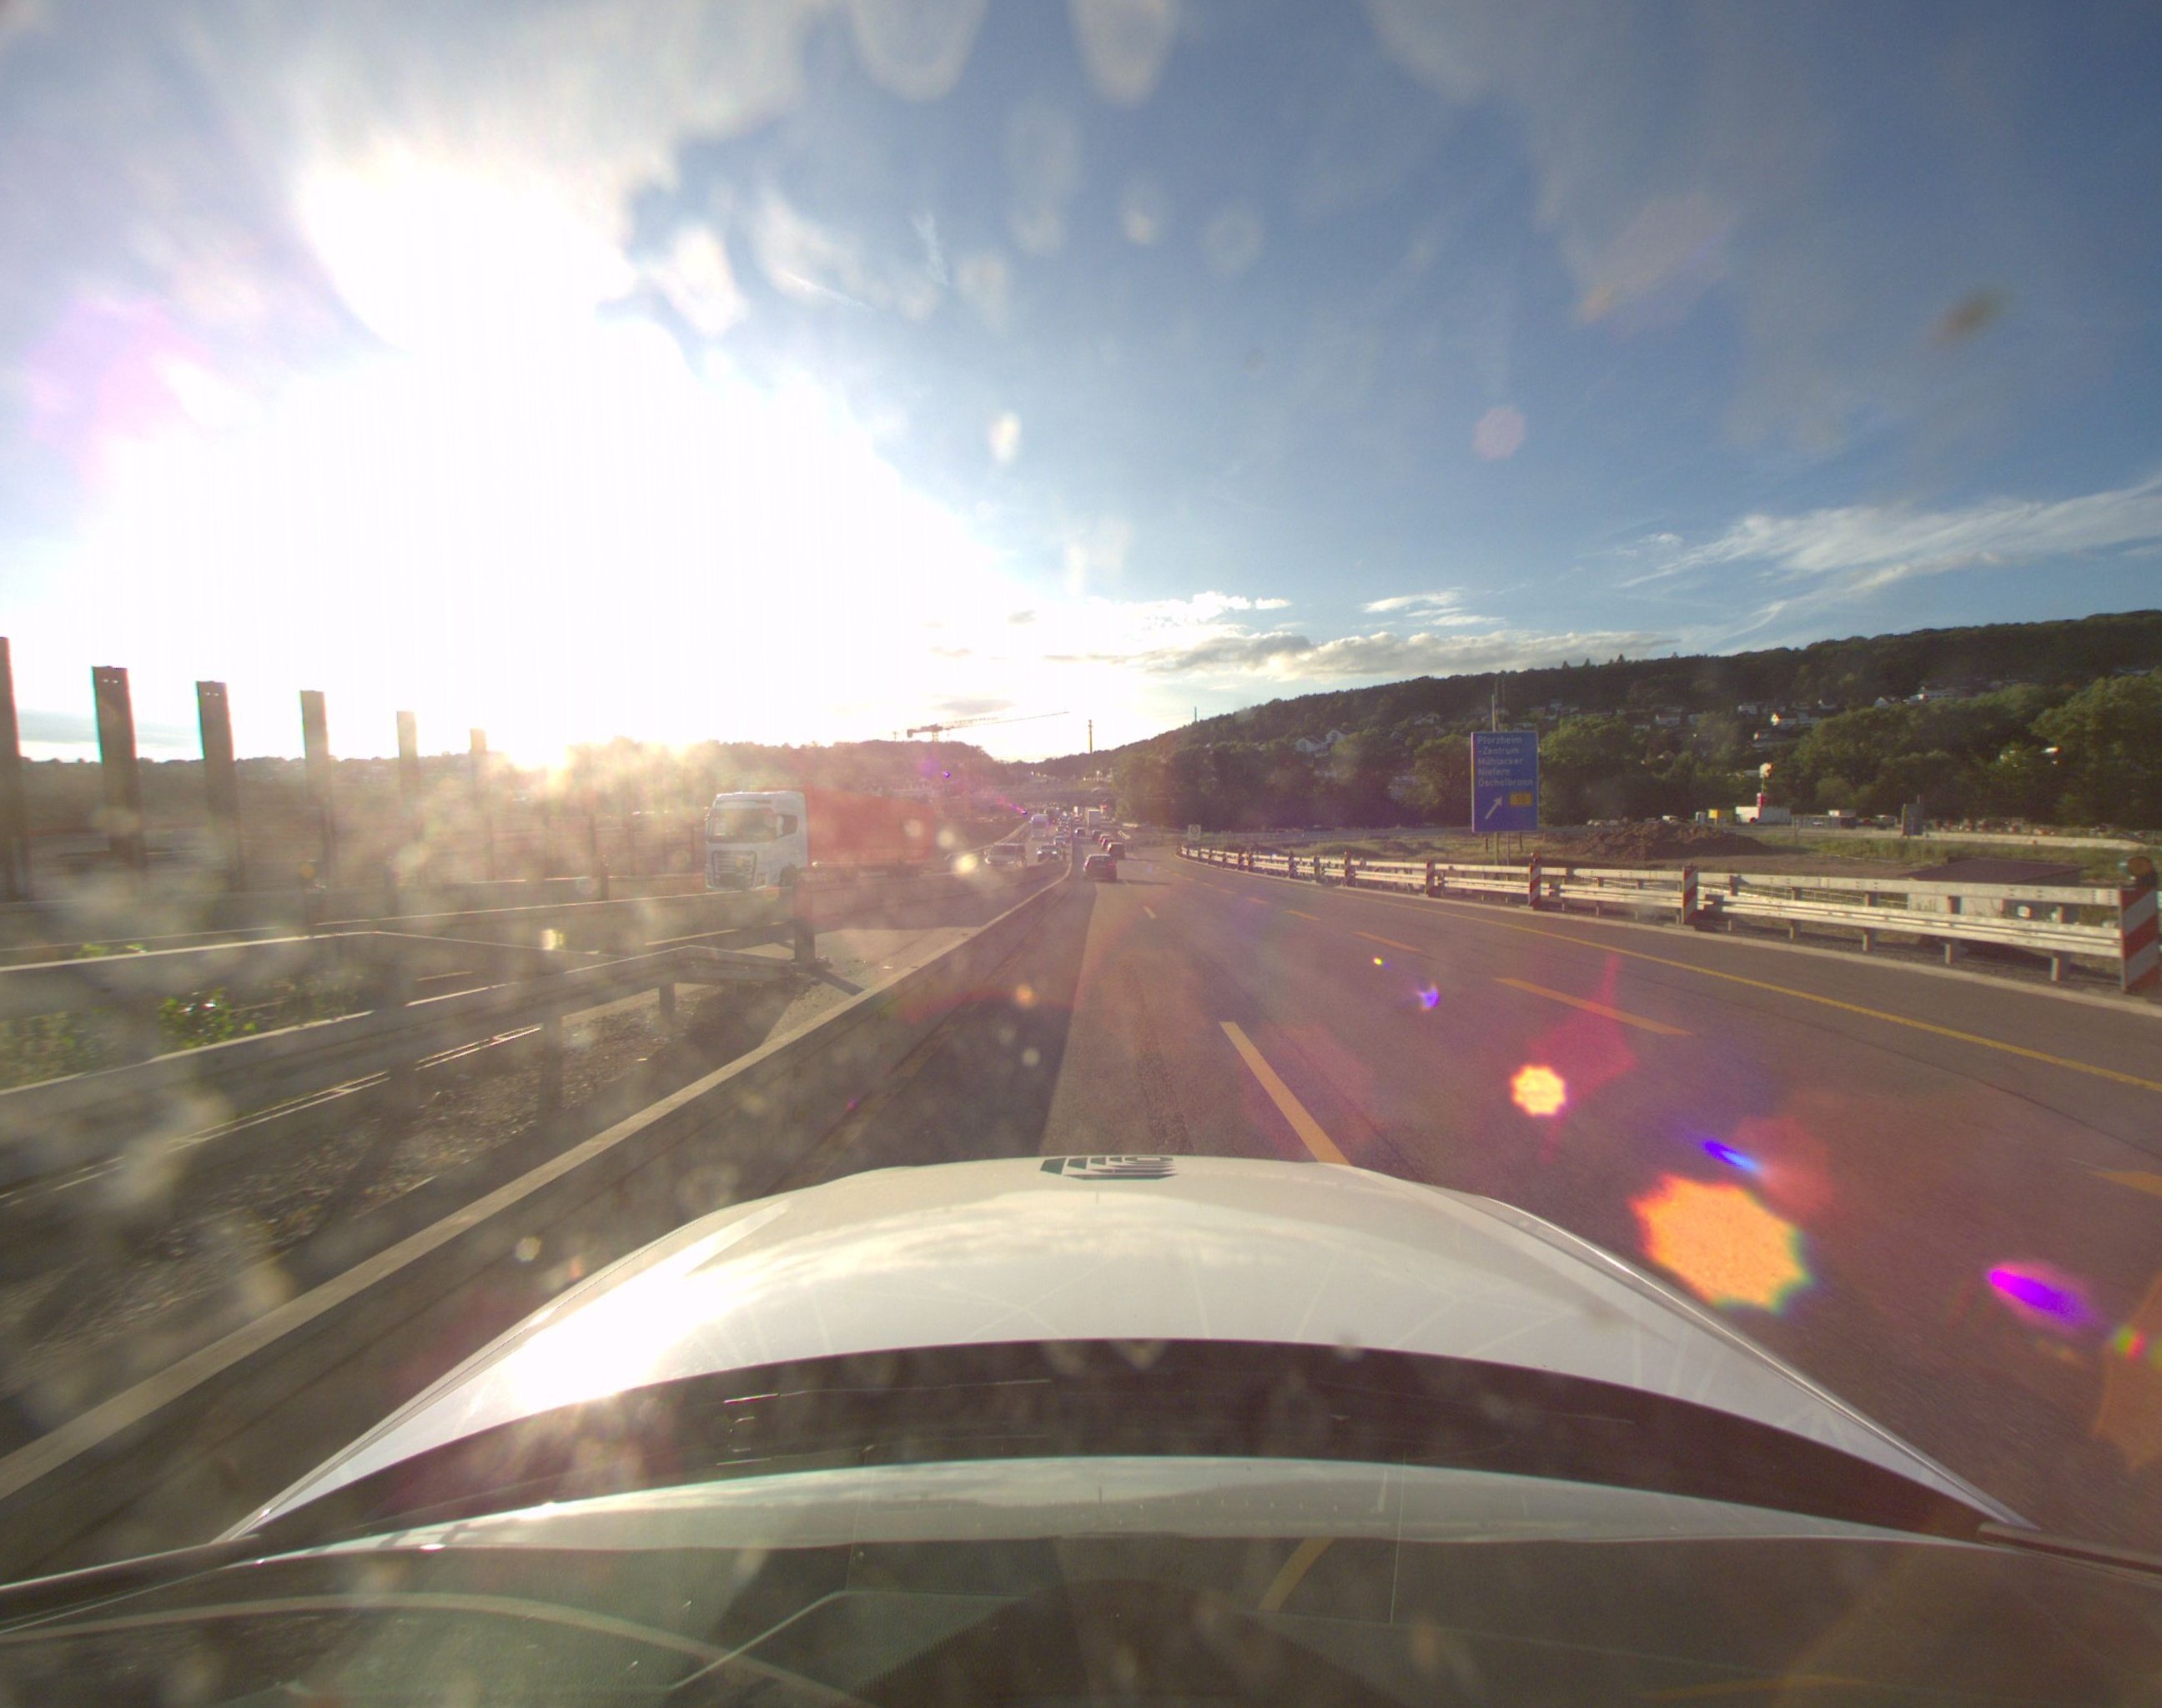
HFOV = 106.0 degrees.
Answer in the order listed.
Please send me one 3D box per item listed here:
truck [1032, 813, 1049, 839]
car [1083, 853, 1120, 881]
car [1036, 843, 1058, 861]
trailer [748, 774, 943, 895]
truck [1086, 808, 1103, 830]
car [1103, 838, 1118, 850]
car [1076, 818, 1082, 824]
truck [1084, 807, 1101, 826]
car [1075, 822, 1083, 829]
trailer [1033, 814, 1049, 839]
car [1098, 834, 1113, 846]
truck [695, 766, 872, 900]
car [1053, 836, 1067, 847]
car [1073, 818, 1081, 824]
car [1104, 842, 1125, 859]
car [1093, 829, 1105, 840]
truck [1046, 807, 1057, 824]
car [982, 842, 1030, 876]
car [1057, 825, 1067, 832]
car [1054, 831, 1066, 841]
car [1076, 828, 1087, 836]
[{"bbox_3d":[-6.872,-4.711,137.876,2.545,4.220,6.049,1,1,-1],"label":"truck"},{"bbox_3d":[1.056,0.657,43.729,1.765,1.390,3.997,0,1,-2],"label":"car"},{"bbox_3d":[-3.189,-0.235,77.117,1.782,1.619,4.874,1,1,1],"label":"car"},{"bbox_3d":[-9.991,-0.754,37.338,2.568,4.471,14.175,1,0,10],"label":"trailer"},{"bbox_3d":[2.851,-7.726,178.439,3.375,4.496,15.269,0,3,0],"label":"truck"},{"bbox_3d":[3.781,-1.278,104.974,1.768,1.586,4.135,1,0,0],"label":"car"},{"bbox_3d":[-0.542,-9.484,233.408,1.917,1.552,4.000,0,1,0],"label":"car"},{"bbox_3d":[2.964,-9.817,208.822,3.879,4.496,15.268,0,4,-1],"label":"truck"},{"bbox_3d":[-0.508,-6.768,191.446,1.917,1.552,3.999,0,0,0],"label":"car"},{"bbox_3d":[-7.056,-4.846,144.724,2.524,4.213,13.927,1,1,-1],"label":"trailer"},{"bbox_3d":[3.488,-2.082,118.590,1.870,1.599,4.964,-1,3,-2],"label":"car"},{"bbox_3d":[-11.050,-0.731,31.463,2.568,4.471,8.354,1,0,9],"label":"truck"},{"bbox_3d":[-2.975,-1.761,114.402,1.782,1.488,4.220,1,1,1],"label":"car"},{"bbox_3d":[-1.024,-8.776,216.460,1.917,1.552,4.000,0,1,0],"label":"car"},{"bbox_3d":[3.322,-0.379,82.261,1.808,1.615,4.523,1,0,-2],"label":"car"},{"bbox_3d":[2.944,-3.280,135.757,1.809,1.631,4.410,0,3,-1],"label":"car"},{"bbox_3d":[-7.289,-9.553,201.580,2.762,4.079,5.773,0,3,-2],"label":"truck"},{"bbox_3d":[-4.618,0.284,50.914,1.984,2.013,5.264,1,0,5],"label":"car"},{"bbox_3d":[-3.748,-5.014,160.966,1.831,1.409,4.494,0,2,-1],"label":"car"},{"bbox_3d":[-3.346,-2.932,132.447,1.844,1.483,4.511,-1,1,0],"label":"car"},{"bbox_3d":[0.096,-4.019,150.066,1.857,1.420,4.000,0,2,0],"label":"car"}]
